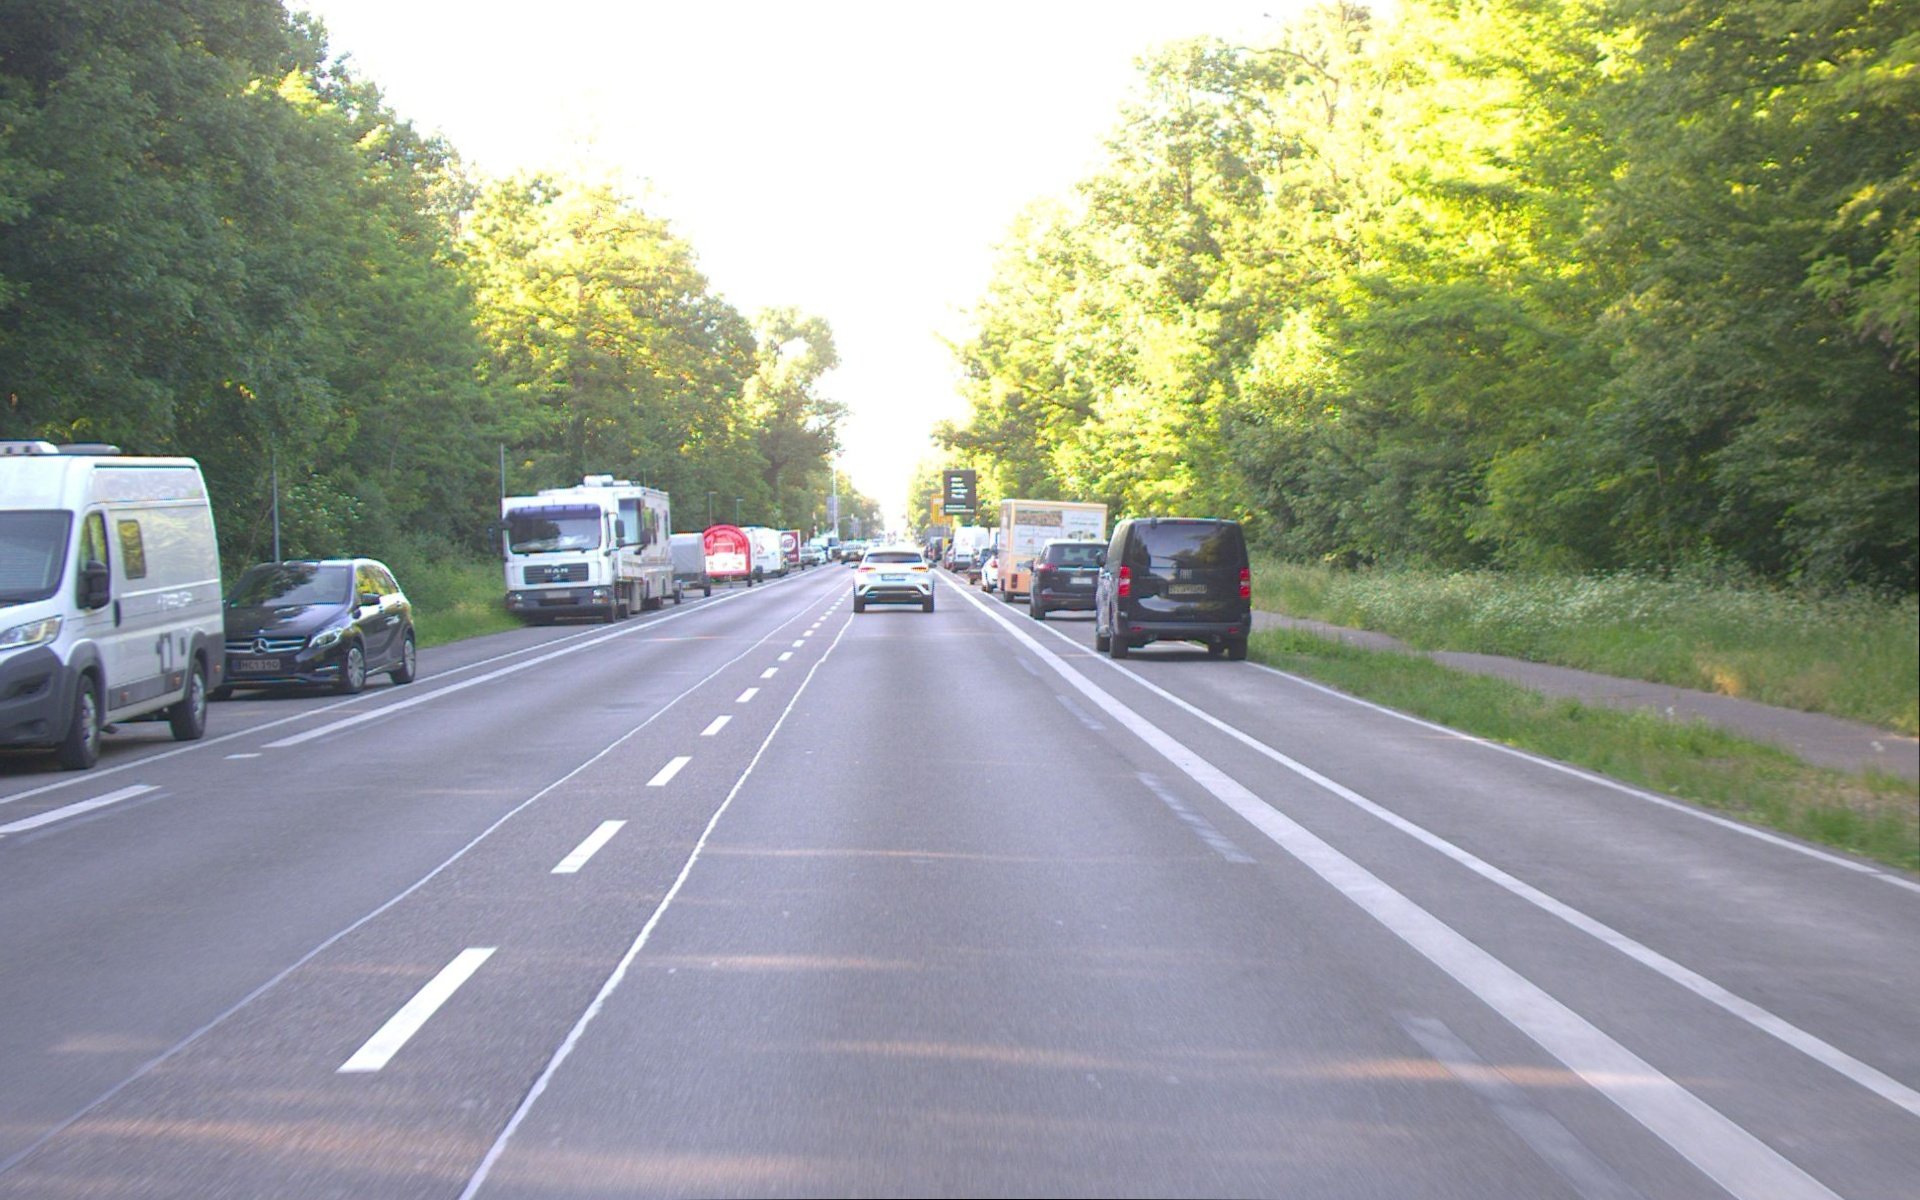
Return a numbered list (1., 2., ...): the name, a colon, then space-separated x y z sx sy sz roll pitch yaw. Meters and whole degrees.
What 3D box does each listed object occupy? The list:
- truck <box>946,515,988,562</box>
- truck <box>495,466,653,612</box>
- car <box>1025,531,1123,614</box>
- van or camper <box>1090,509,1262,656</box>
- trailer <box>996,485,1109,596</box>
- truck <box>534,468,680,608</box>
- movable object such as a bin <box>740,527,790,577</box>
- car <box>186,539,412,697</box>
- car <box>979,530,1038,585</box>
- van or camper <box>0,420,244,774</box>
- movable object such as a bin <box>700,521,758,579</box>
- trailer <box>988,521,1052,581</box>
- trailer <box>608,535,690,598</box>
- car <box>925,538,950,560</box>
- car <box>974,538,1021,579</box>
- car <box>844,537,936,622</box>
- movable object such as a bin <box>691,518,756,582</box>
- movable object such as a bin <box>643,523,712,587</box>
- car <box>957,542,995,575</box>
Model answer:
1. truck: 0.375 -3.310 183.741 2.096 2.444 5.680 -1 1 -1
2. truck: -8.557 -1.367 77.026 2.707 3.083 7.990 0 1 -1
3. car: 2.318 -0.595 70.729 1.841 1.656 4.000 0 1 0
4. van or camper: 2.954 -0.284 48.081 1.993 1.925 5.199 0 1 -1
5. trailer: 2.449 -1.605 92.868 2.757 2.860 6.589 -1 1 -1
6. truck: -8.927 -1.584 88.020 2.707 3.336 10.924 0 1 -1
7. movable object such as a bin: -9.800 -2.433 173.032 2.322 2.493 4.000 -1 1 -1
8. car: -7.660 0.160 40.217 1.781 1.678 4.378 -2 1 -1
9. car: 1.509 -1.350 108.870 1.732 1.678 4.000 -1 1 -1
10. van or camper: -7.633 -0.067 28.265 2.120 2.563 6.542 -1 1 -1
11. movable object such as a bin: -10.094 -2.210 150.468 2.322 2.493 4.000 -1 1 -1
12. trailer: 1.984 -1.662 115.553 1.993 1.963 4.000 -1 1 -1
13. trailer: -8.876 -0.971 98.336 1.993 1.744 4.328 -1 1 -1
14. car: -1.538 -3.535 236.860 1.656 1.473 3.754 -1 1 -1
15. car: 1.387 -1.575 129.125 1.656 1.473 3.754 -1 1 -1
16. car: -1.572 -0.500 78.333 2.028 1.834 4.029 -1 1 -1
17. movable object such as a bin: -9.335 -1.990 135.963 2.322 2.493 4.000 -1 1 -1
18. movable object such as a bin: -9.161 -1.479 111.825 1.953 2.007 4.000 -1 1 -1
19. car: 0.724 -1.945 159.920 1.656 1.473 3.754 -1 1 -1
